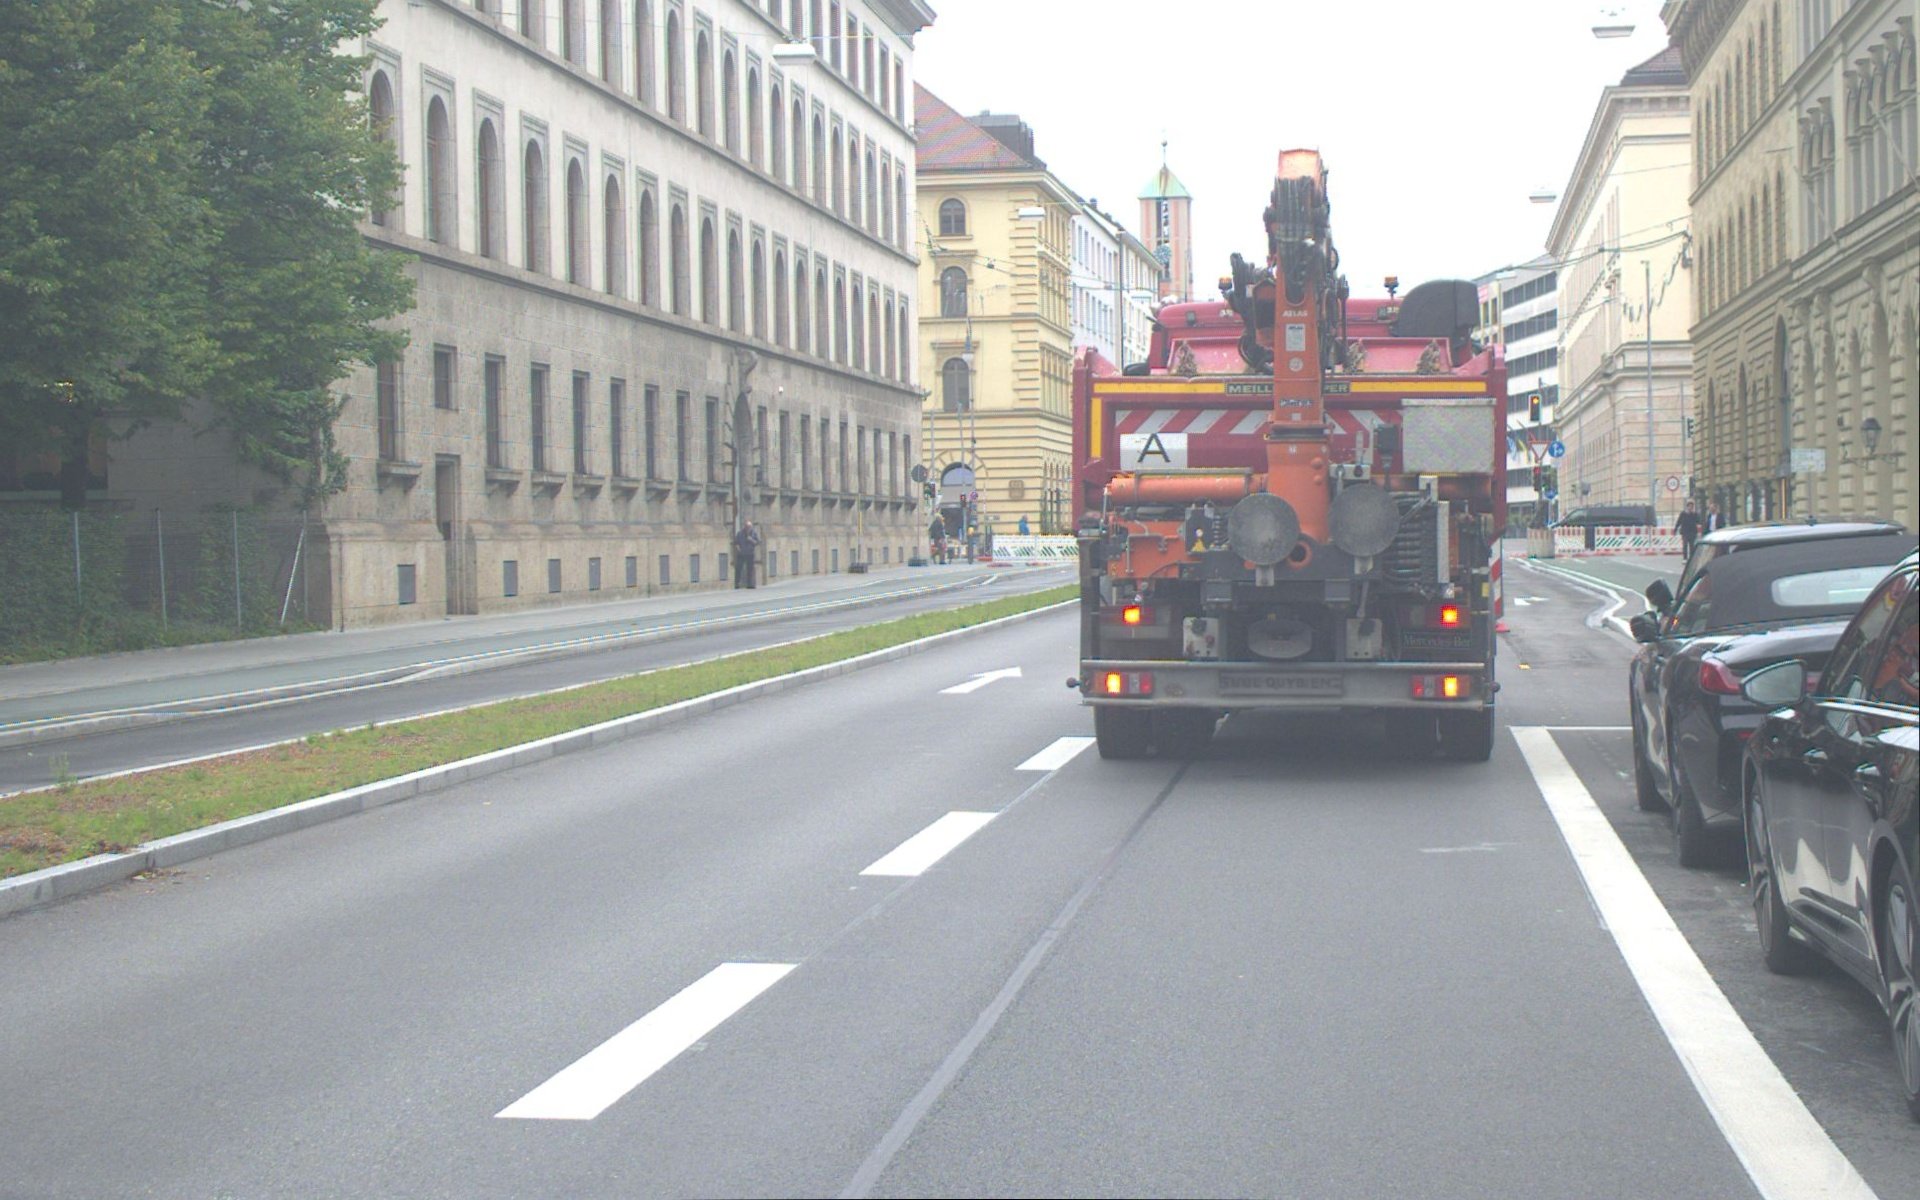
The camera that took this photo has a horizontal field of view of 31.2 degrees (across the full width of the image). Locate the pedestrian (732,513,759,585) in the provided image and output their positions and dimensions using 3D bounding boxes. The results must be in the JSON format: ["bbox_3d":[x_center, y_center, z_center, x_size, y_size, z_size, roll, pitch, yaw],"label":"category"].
[{"bbox_3d":[-5.457,-1.306,87.467,0.589,1.825,0.498,0,2,6],"label":"pedestrian"}]

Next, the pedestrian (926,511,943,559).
[{"bbox_3d":[-0.990,-2.465,131.058,0.589,1.825,0.498,0,2,6],"label":"pedestrian"}]

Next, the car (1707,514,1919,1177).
[{"bbox_3d":[3.284,0.499,9.702,1.802,1.475,4.686,-1,1,6],"label":"car"}]

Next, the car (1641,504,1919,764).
[{"bbox_3d":[5.251,0.155,21.713,1.610,1.490,3.424,-1,1,7],"label":"car"}]

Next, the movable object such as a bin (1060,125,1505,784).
[{"bbox_3d":[2.088,-0.862,21.823,2.424,3.599,5.850,0,1,6],"label":"movable object such as a bin"}]

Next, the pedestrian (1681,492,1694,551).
[{"bbox_3d":[20.719,-2.240,97.914,0.337,1.666,0.440,-1,1,9],"label":"pedestrian"}]

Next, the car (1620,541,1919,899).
[{"bbox_3d":[4.057,0.441,15.917,1.680,1.381,4.425,0,2,7],"label":"car"}]

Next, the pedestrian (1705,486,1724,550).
[{"bbox_3d":[21.447,-2.332,97.704,0.446,1.830,0.556,-1,1,9],"label":"pedestrian"}]

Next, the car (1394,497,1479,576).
[{"bbox_3d":[9.446,-1.282,68.269,1.610,1.490,3.424,-1,1,7],"label":"car"}]
